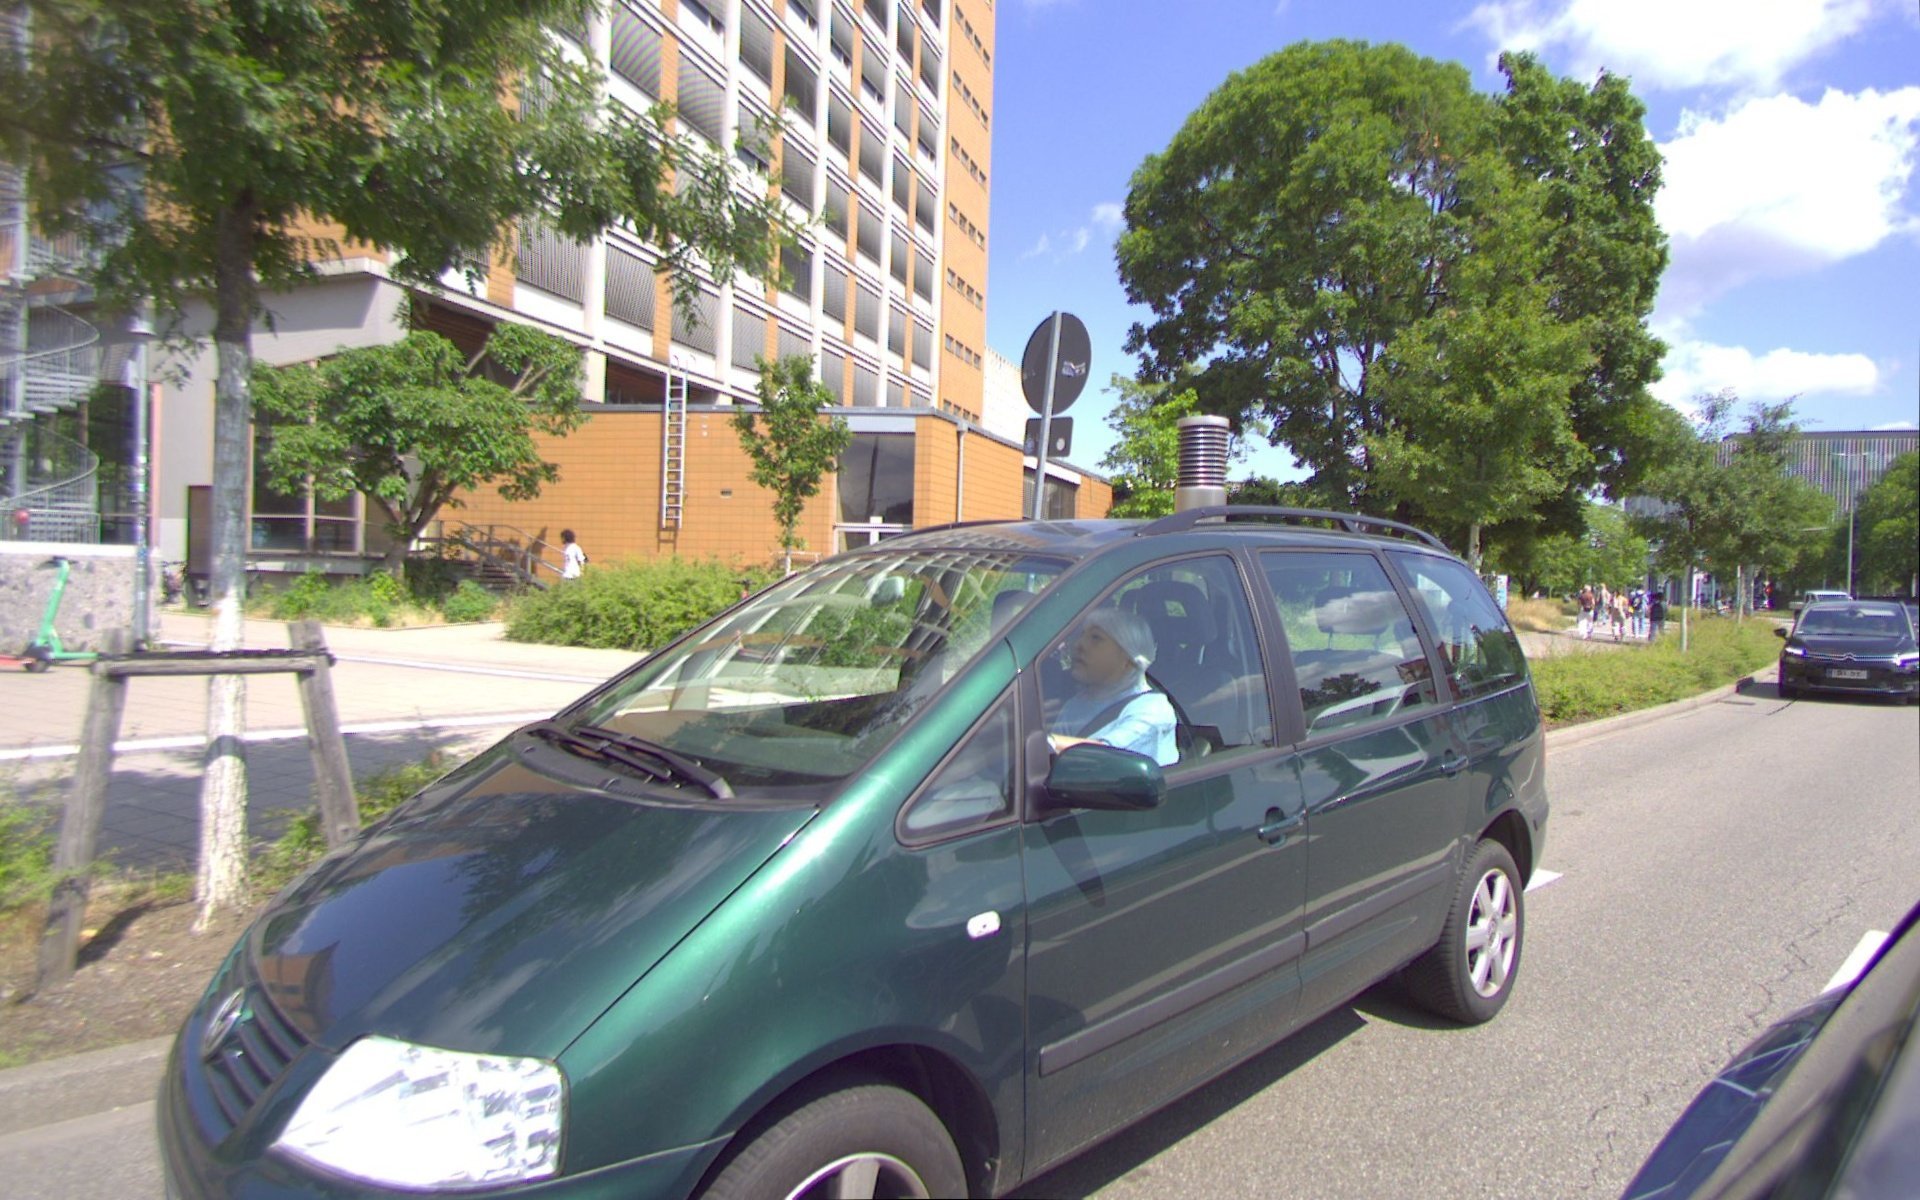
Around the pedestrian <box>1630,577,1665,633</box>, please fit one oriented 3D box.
[{"bbox_3d":[23.424,0.162,34.495,0.751,1.843,0.773,5,3,27],"label":"pedestrian"}]

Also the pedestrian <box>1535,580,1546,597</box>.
[{"bbox_3d":[60.384,-1.189,105.288,0.836,1.787,0.835,0,1,24],"label":"pedestrian"}]

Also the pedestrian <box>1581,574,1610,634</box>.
[{"bbox_3d":[20.031,0.111,31.895,0.753,1.844,0.630,0,1,33],"label":"pedestrian"}]

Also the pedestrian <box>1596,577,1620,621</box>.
[{"bbox_3d":[27.348,-0.042,42.717,0.746,1.824,0.603,3,1,32],"label":"pedestrian"}]

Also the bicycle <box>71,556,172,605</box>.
[{"bbox_3d":[-18.760,-0.453,22.692,0.369,1.047,1.875,0,3,14],"label":"bicycle"}]

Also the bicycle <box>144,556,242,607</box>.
[{"bbox_3d":[-16.755,-0.426,22.172,0.369,1.047,1.875,0,3,14],"label":"bicycle"}]

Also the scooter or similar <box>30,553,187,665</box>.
[{"bbox_3d":[-9.239,0.100,10.993,1.424,1.138,0.231,3,1,-3],"label":"scooter or similar"}]

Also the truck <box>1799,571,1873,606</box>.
[{"bbox_3d":[61.606,-0.772,71.315,2.438,2.330,5.765,-1,0,25],"label":"truck"}]

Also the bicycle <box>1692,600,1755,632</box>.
[{"bbox_3d":[29.192,0.610,38.703,1.802,1.062,0.585,5,4,32],"label":"bicycle"}]

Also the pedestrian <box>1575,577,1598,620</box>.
[{"bbox_3d":[26.510,-0.081,42.847,0.746,1.774,0.603,3,1,32],"label":"pedestrian"}]

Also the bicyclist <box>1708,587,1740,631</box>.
[{"bbox_3d":[29.207,0.327,38.688,0.824,1.620,0.573,5,4,32],"label":"bicyclist"}]

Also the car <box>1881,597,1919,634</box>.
[{"bbox_3d":[41.667,0.653,43.884,1.739,1.523,4.468,-1,0,32],"label":"car"}]

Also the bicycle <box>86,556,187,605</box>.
[{"bbox_3d":[-18.320,-0.452,22.565,0.390,1.047,1.875,0,3,14],"label":"bicycle"}]

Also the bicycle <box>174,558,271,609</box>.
[{"bbox_3d":[-15.957,-0.376,21.962,0.369,1.047,1.875,0,3,14],"label":"bicycle"}]

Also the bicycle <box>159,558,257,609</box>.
[{"bbox_3d":[-16.357,-0.381,22.065,0.369,1.047,1.875,0,3,14],"label":"bicycle"}]

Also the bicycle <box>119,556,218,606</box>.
[{"bbox_3d":[-17.419,-0.450,22.325,0.369,1.047,1.875,0,3,14],"label":"bicycle"}]

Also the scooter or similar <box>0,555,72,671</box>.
[{"bbox_3d":[-9.769,0.117,10.249,1.257,1.138,0.231,3,1,-3],"label":"scooter or similar"}]

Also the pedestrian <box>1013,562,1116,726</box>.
[{"bbox_3d":[1.080,0.419,10.472,0.748,1.609,0.757,-1,1,-42],"label":"pedestrian"}]

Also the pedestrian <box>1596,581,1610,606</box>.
[{"bbox_3d":[47.685,-0.479,75.031,0.660,1.768,0.606,3,1,19],"label":"pedestrian"}]

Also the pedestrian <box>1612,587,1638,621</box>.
[{"bbox_3d":[32.660,0.177,49.698,0.742,1.616,0.877,3,1,17],"label":"pedestrian"}]

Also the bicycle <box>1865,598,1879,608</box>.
[{"bbox_3d":[99.126,0.328,110.020,0.377,1.121,1.664,1,1,13],"label":"bicycle"}]

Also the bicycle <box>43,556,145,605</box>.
[{"bbox_3d":[-19.580,-0.456,22.936,0.369,1.047,1.875,0,3,14],"label":"bicycle"}]

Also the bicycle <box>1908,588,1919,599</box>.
[{"bbox_3d":[97.925,-0.681,103.611,0.377,1.056,1.664,1,1,12],"label":"bicycle"}]

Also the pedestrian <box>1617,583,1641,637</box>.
[{"bbox_3d":[20.706,0.292,31.338,0.585,1.646,0.719,0,1,33],"label":"pedestrian"}]

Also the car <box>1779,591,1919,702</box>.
[{"bbox_3d":[15.358,0.678,17.188,1.858,1.643,4.448,-1,0,44],"label":"car"}]

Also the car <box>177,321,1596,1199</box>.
[{"bbox_3d":[0.291,0.540,3.258,4.371,1.745,1.797,-1,0,-41],"label":"car"}]

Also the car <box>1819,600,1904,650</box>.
[{"bbox_3d":[28.601,0.740,32.207,1.758,1.435,4.302,0,0,39],"label":"car"}]

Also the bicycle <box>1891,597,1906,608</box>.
[{"bbox_3d":[98.147,0.283,105.844,0.377,1.056,1.664,1,1,12],"label":"bicycle"}]

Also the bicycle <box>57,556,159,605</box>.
[{"bbox_3d":[-19.162,-0.455,22.809,0.369,1.047,1.875,0,3,14],"label":"bicycle"}]

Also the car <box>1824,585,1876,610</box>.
[{"bbox_3d":[73.282,-0.234,83.421,1.868,1.918,4.827,2,1,25],"label":"car"}]

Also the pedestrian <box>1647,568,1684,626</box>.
[{"bbox_3d":[20.678,-0.106,29.669,0.761,1.645,0.651,-1,4,-42],"label":"pedestrian"}]
